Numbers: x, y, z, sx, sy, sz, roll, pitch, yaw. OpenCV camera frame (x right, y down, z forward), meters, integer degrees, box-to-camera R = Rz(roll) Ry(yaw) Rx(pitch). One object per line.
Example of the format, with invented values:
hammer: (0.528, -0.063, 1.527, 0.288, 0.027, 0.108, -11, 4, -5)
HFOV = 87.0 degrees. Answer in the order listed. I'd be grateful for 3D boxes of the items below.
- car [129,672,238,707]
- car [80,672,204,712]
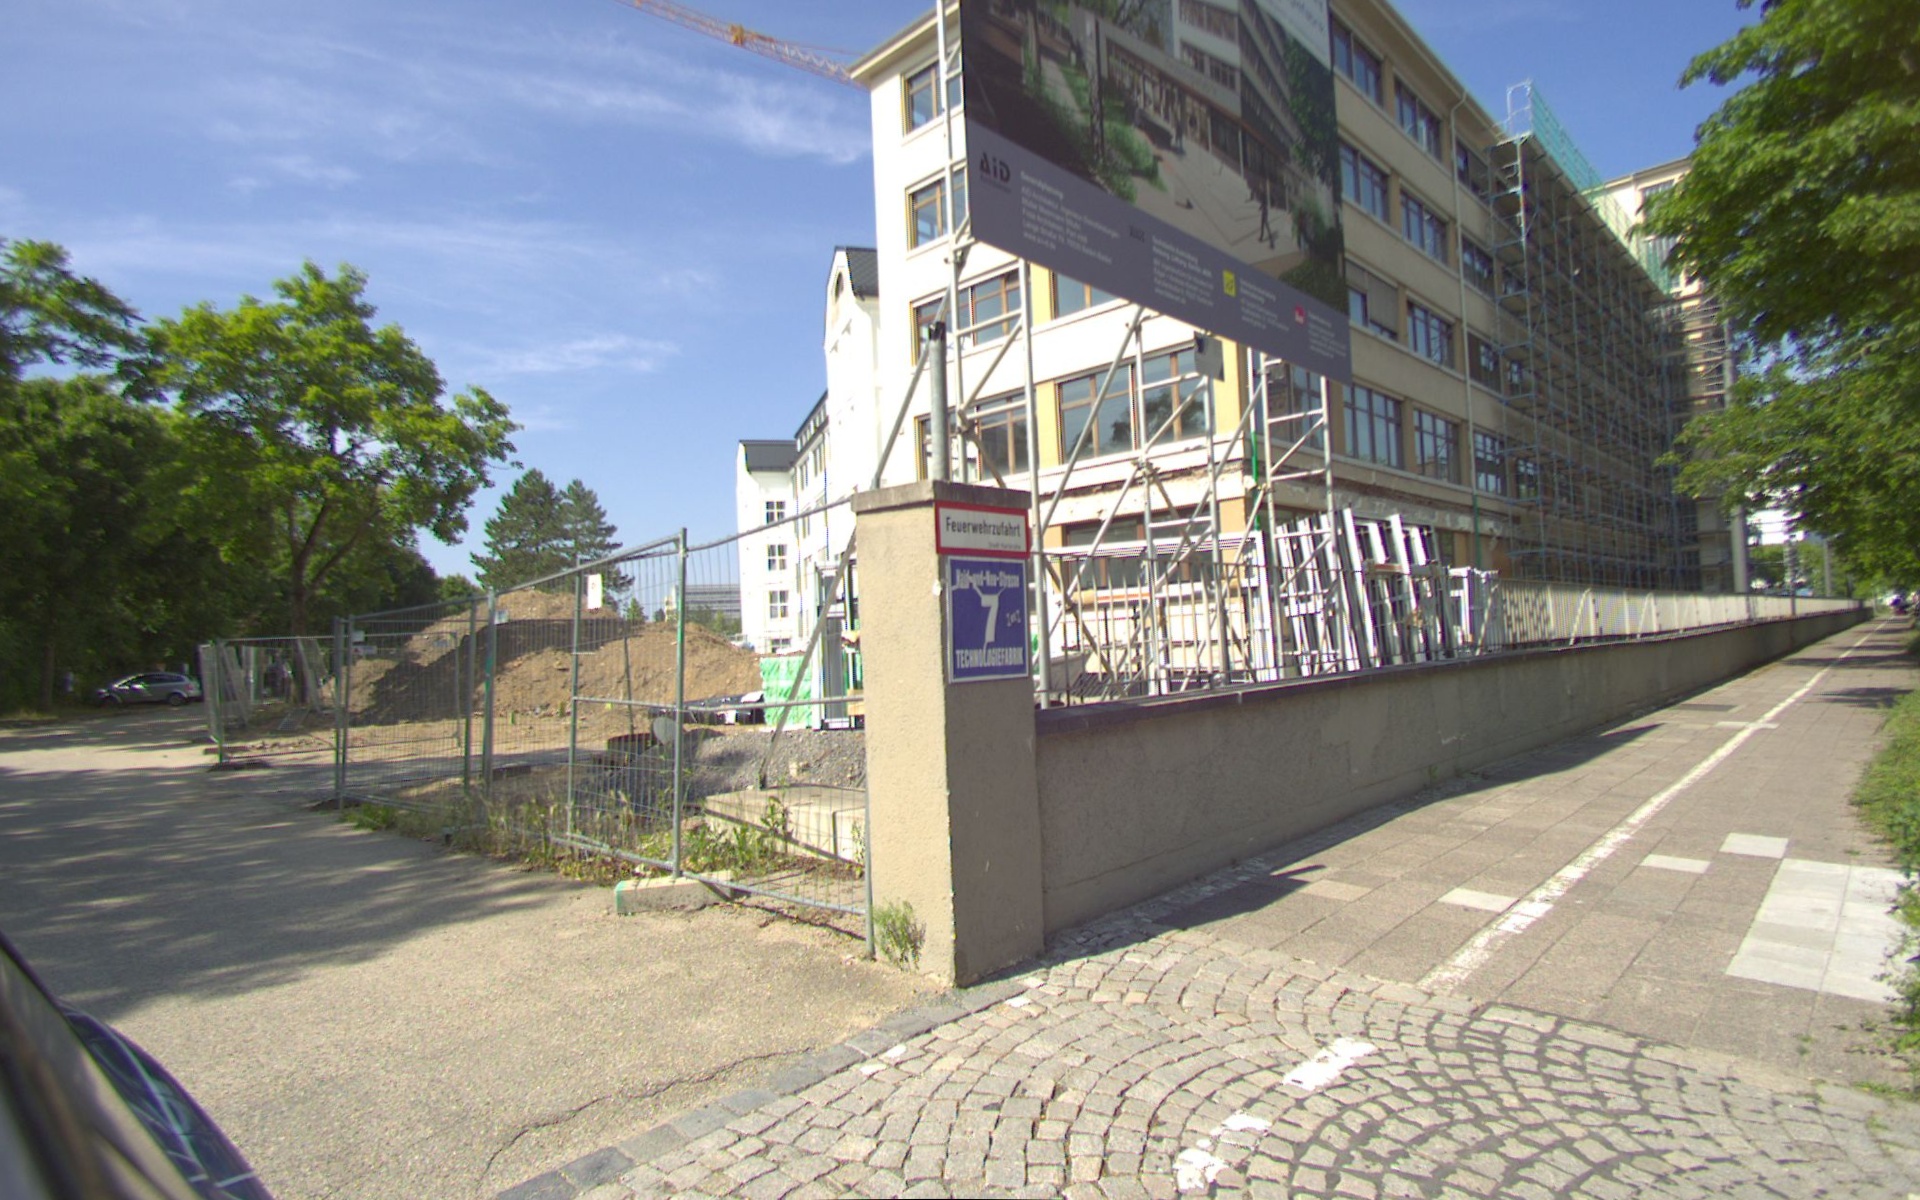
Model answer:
car: (-38.384, 4.419, 50.164, 3.931, 1.453, 2.006, -1, -3, -25)
car: (-36.387, 4.071, 45.155, 3.931, 1.519, 2.006, -1, -3, -25)
